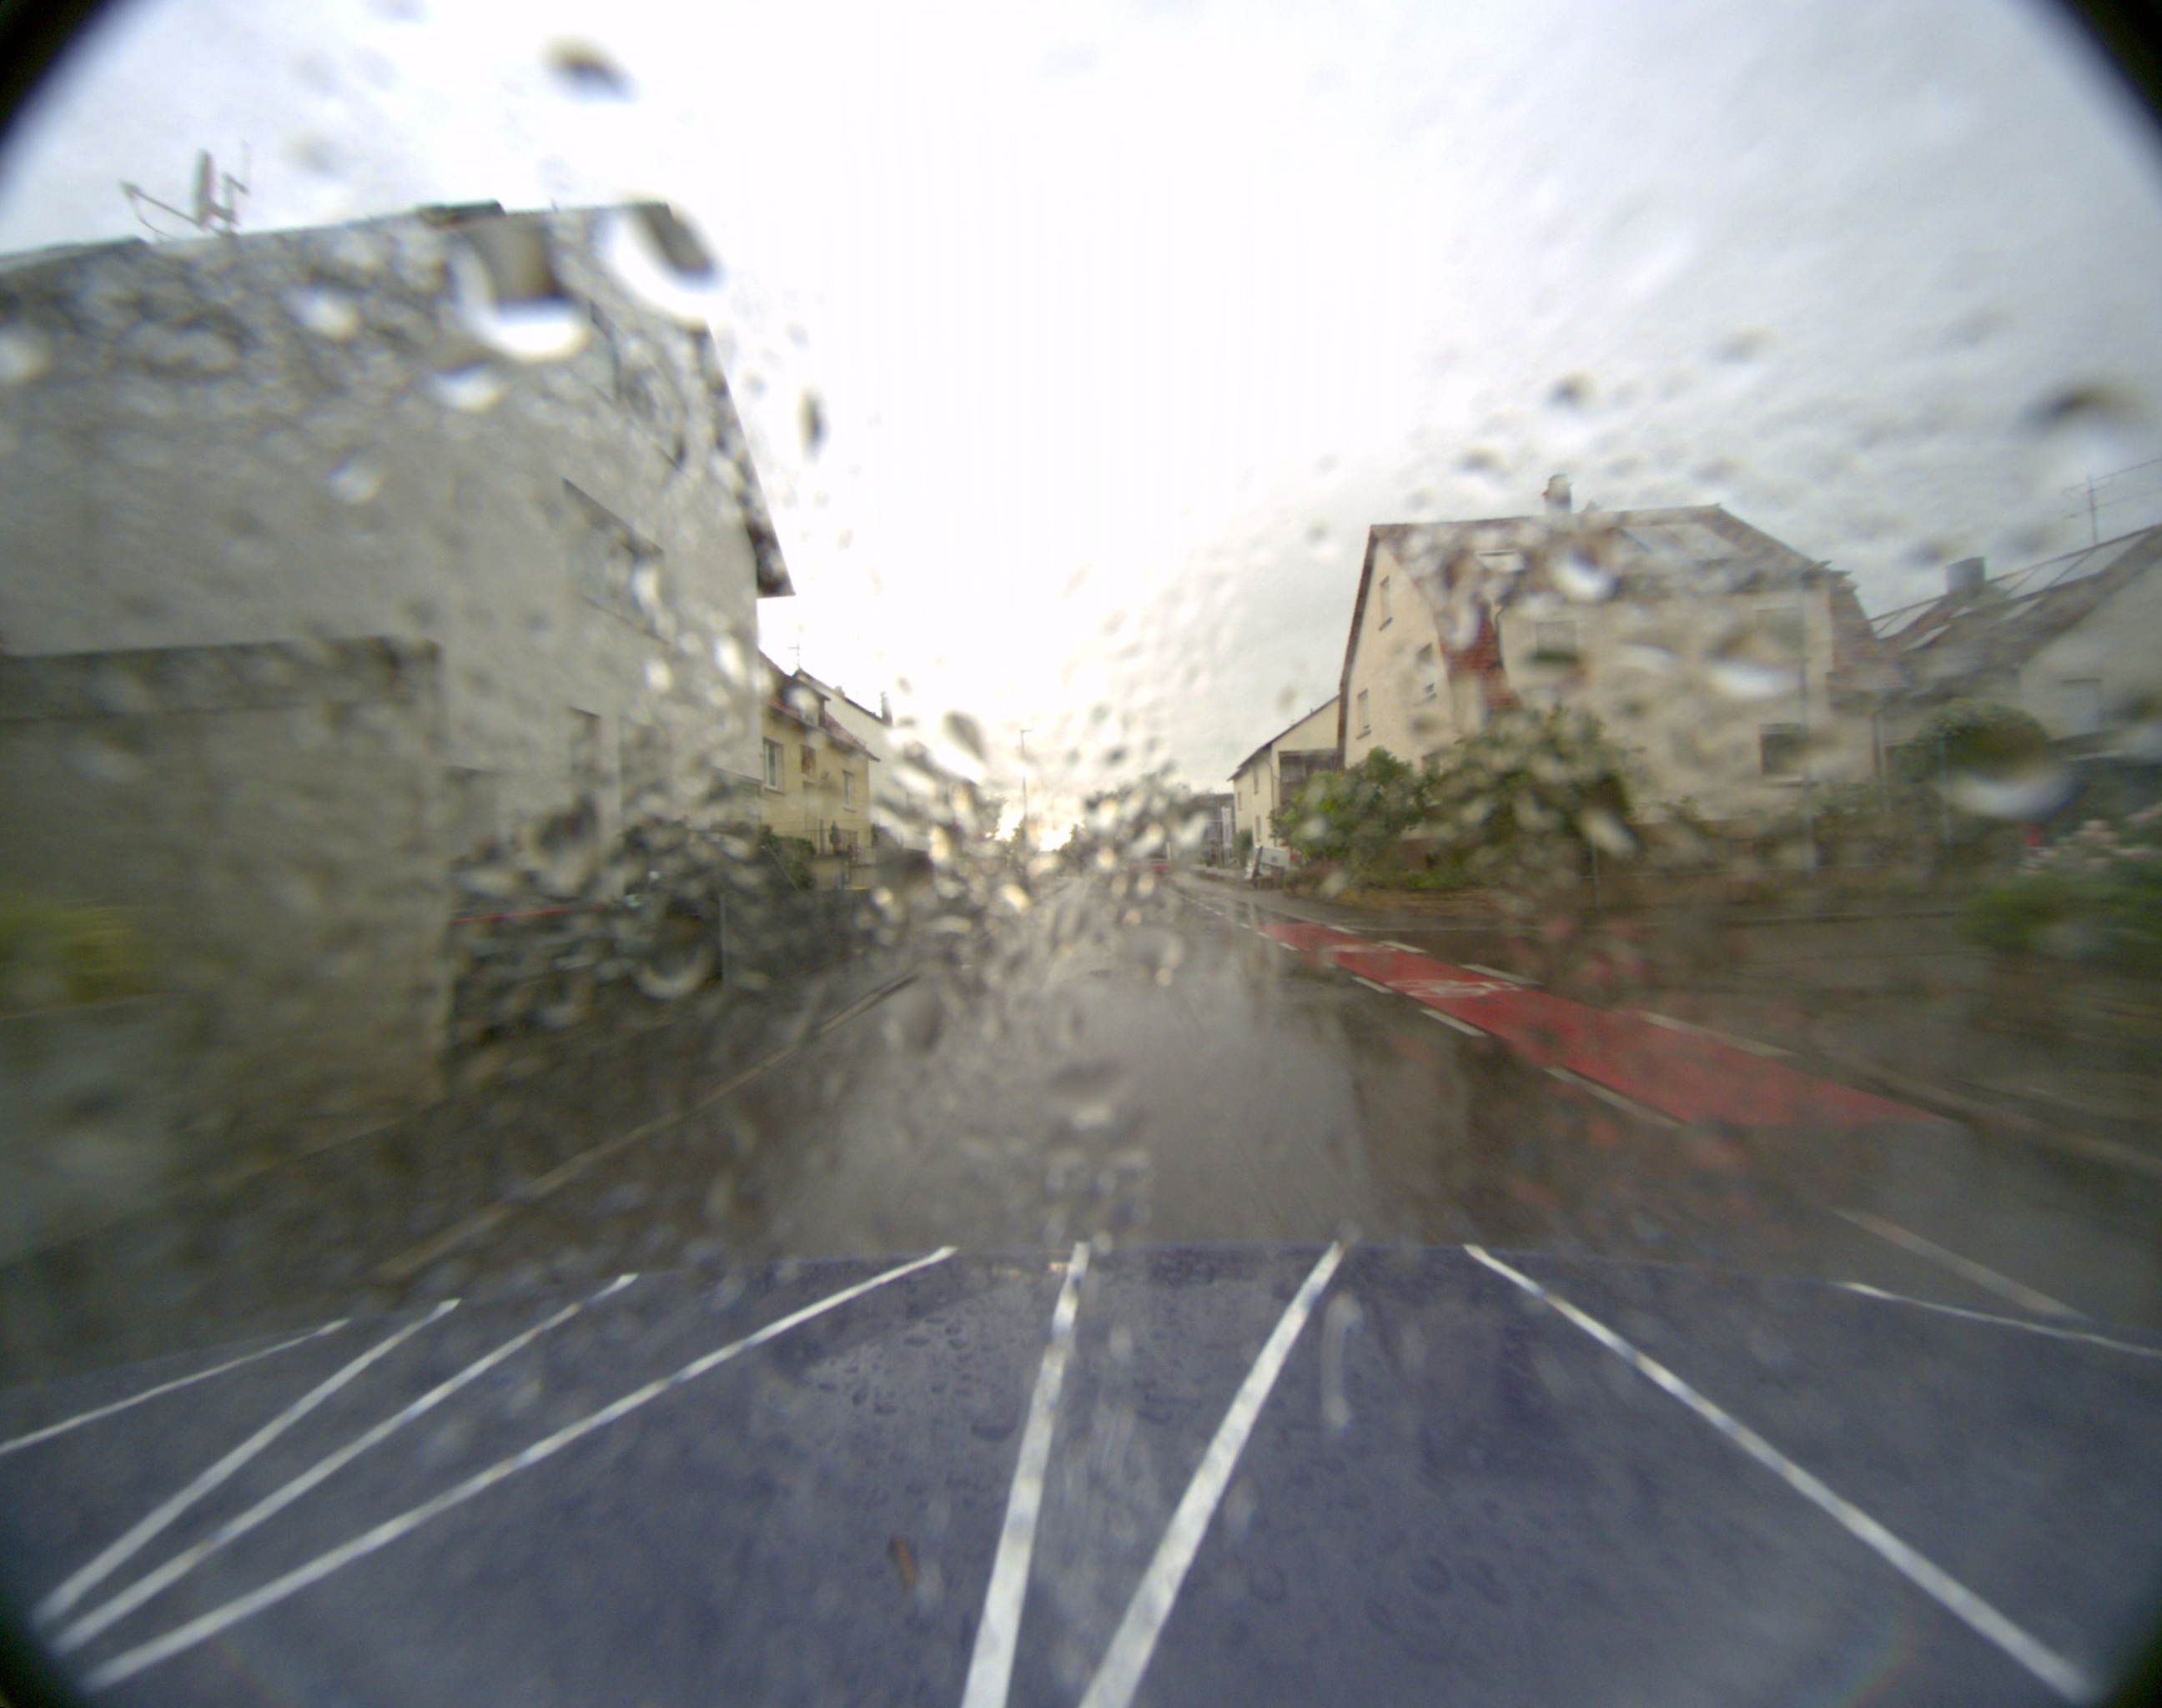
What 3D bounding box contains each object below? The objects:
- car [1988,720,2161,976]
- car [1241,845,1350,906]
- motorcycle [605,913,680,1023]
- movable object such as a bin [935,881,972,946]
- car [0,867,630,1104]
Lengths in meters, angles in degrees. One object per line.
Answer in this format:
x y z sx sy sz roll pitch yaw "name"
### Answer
13.632 -0.185 7.977 5.440 2.590 2.291 -3 0 -1 "car"
9.321 0.919 33.238 3.998 1.963 1.874 10 0 -1 "car"
-4.795 1.195 8.289 0.557 1.007 1.147 -1 1 -37 "motorcycle"
-2.400 1.105 14.318 0.569 1.179 0.538 -1 0 0 "movable object such as a bin"
-6.059 0.937 6.231 3.596 1.574 1.819 -1 1 -1 "car"
